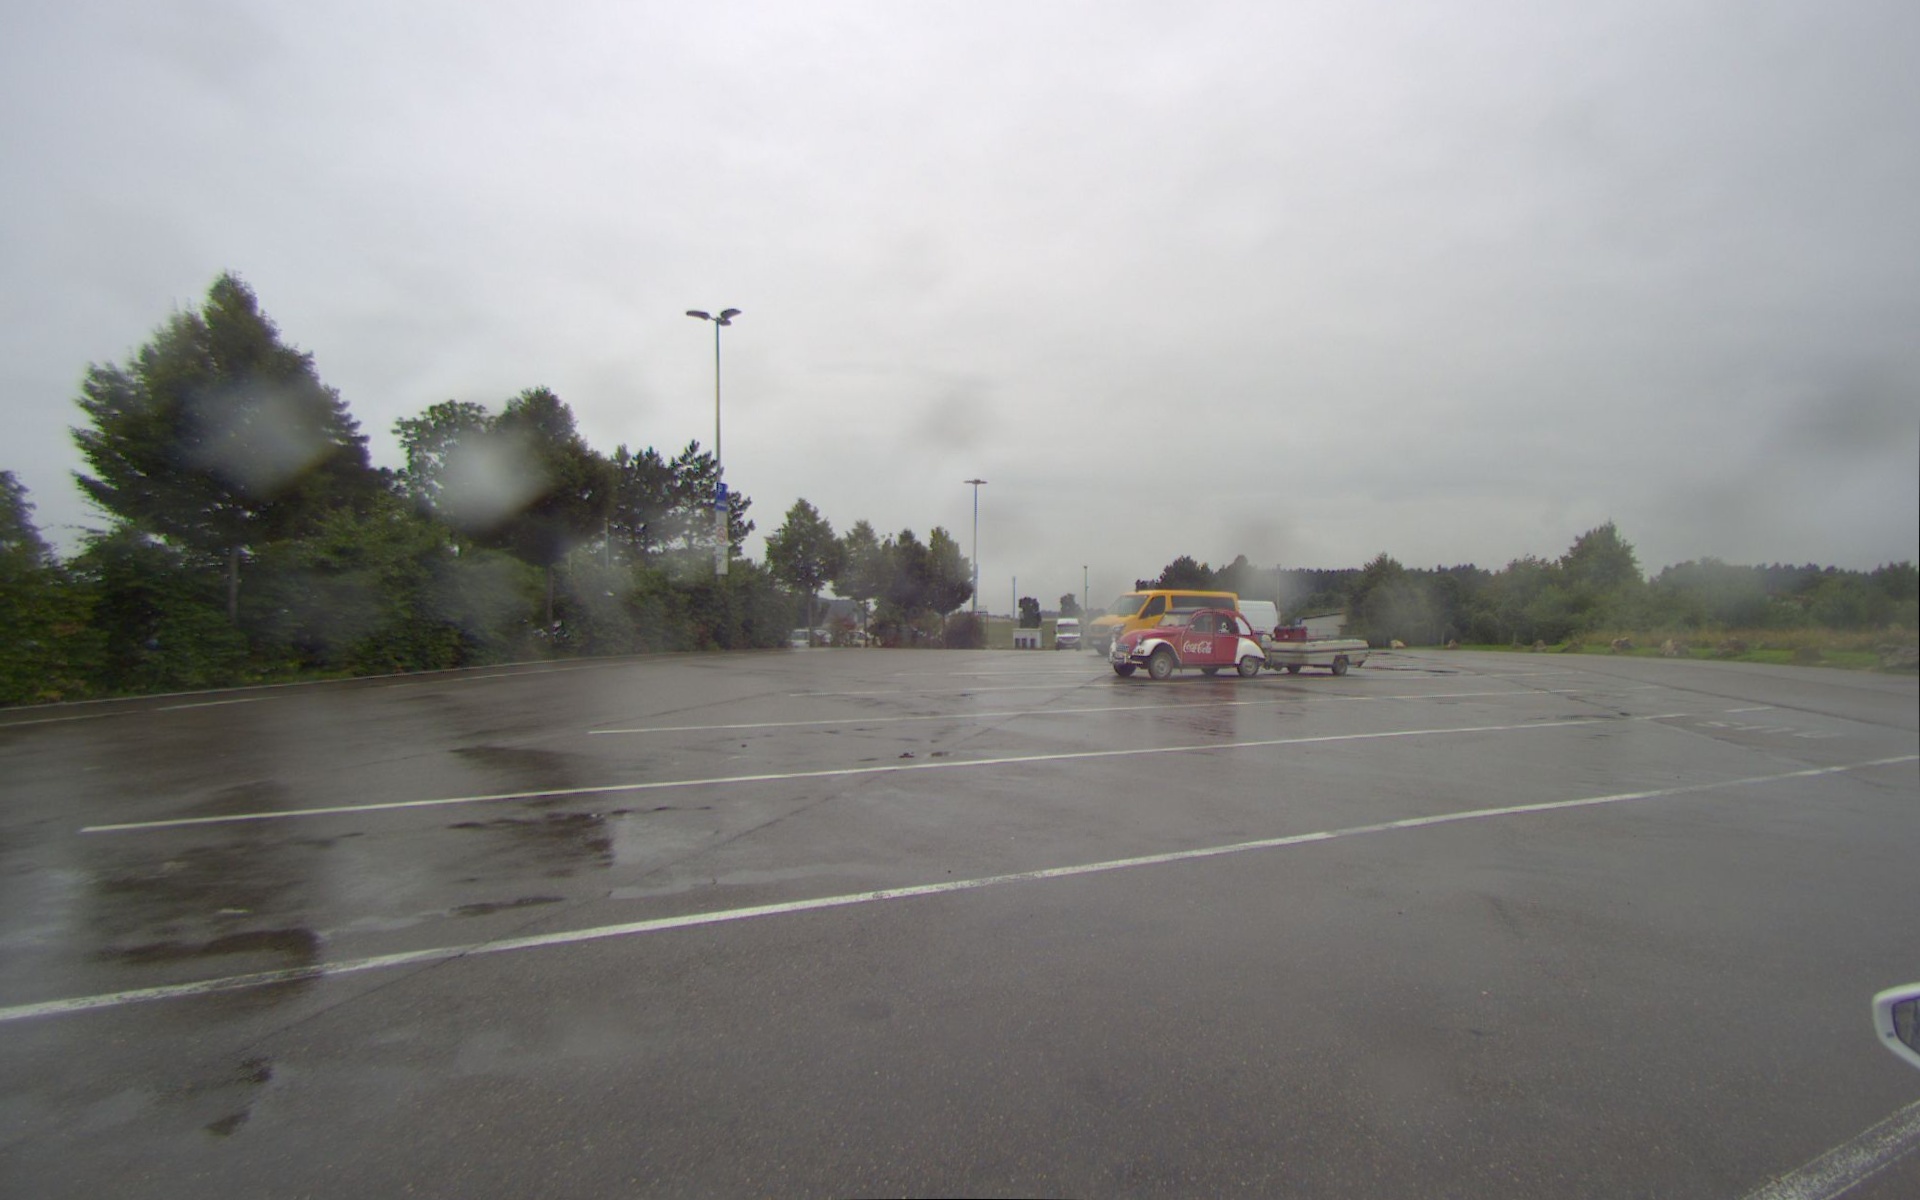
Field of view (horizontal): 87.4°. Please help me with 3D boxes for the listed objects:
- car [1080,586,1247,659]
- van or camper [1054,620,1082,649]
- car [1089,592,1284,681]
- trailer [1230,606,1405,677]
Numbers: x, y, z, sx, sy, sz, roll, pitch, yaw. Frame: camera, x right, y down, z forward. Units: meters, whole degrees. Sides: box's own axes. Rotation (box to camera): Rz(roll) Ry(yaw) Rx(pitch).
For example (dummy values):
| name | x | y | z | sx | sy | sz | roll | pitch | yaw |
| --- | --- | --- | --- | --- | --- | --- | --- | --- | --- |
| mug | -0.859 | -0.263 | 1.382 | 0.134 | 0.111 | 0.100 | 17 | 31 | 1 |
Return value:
| name | x | y | z | sx | sy | sz | roll | pitch | yaw |
| --- | --- | --- | --- | --- | --- | --- | --- | --- | --- |
| car | 7.225 | 0.860 | 35.393 | 5.955 | 2.411 | 1.985 | 2 | -3 | -30 |
| van or camper | 8.397 | 2.695 | 78.527 | 1.960 | 2.195 | 4.002 | 0 | -2 | 3 |
| car | 4.963 | 0.787 | 22.016 | 3.948 | 1.800 | 1.816 | 1 | -2 | -27 |
| trailer | 8.490 | 0.949 | 23.821 | 3.948 | 1.553 | 1.689 | 0 | -2 | -27 |
